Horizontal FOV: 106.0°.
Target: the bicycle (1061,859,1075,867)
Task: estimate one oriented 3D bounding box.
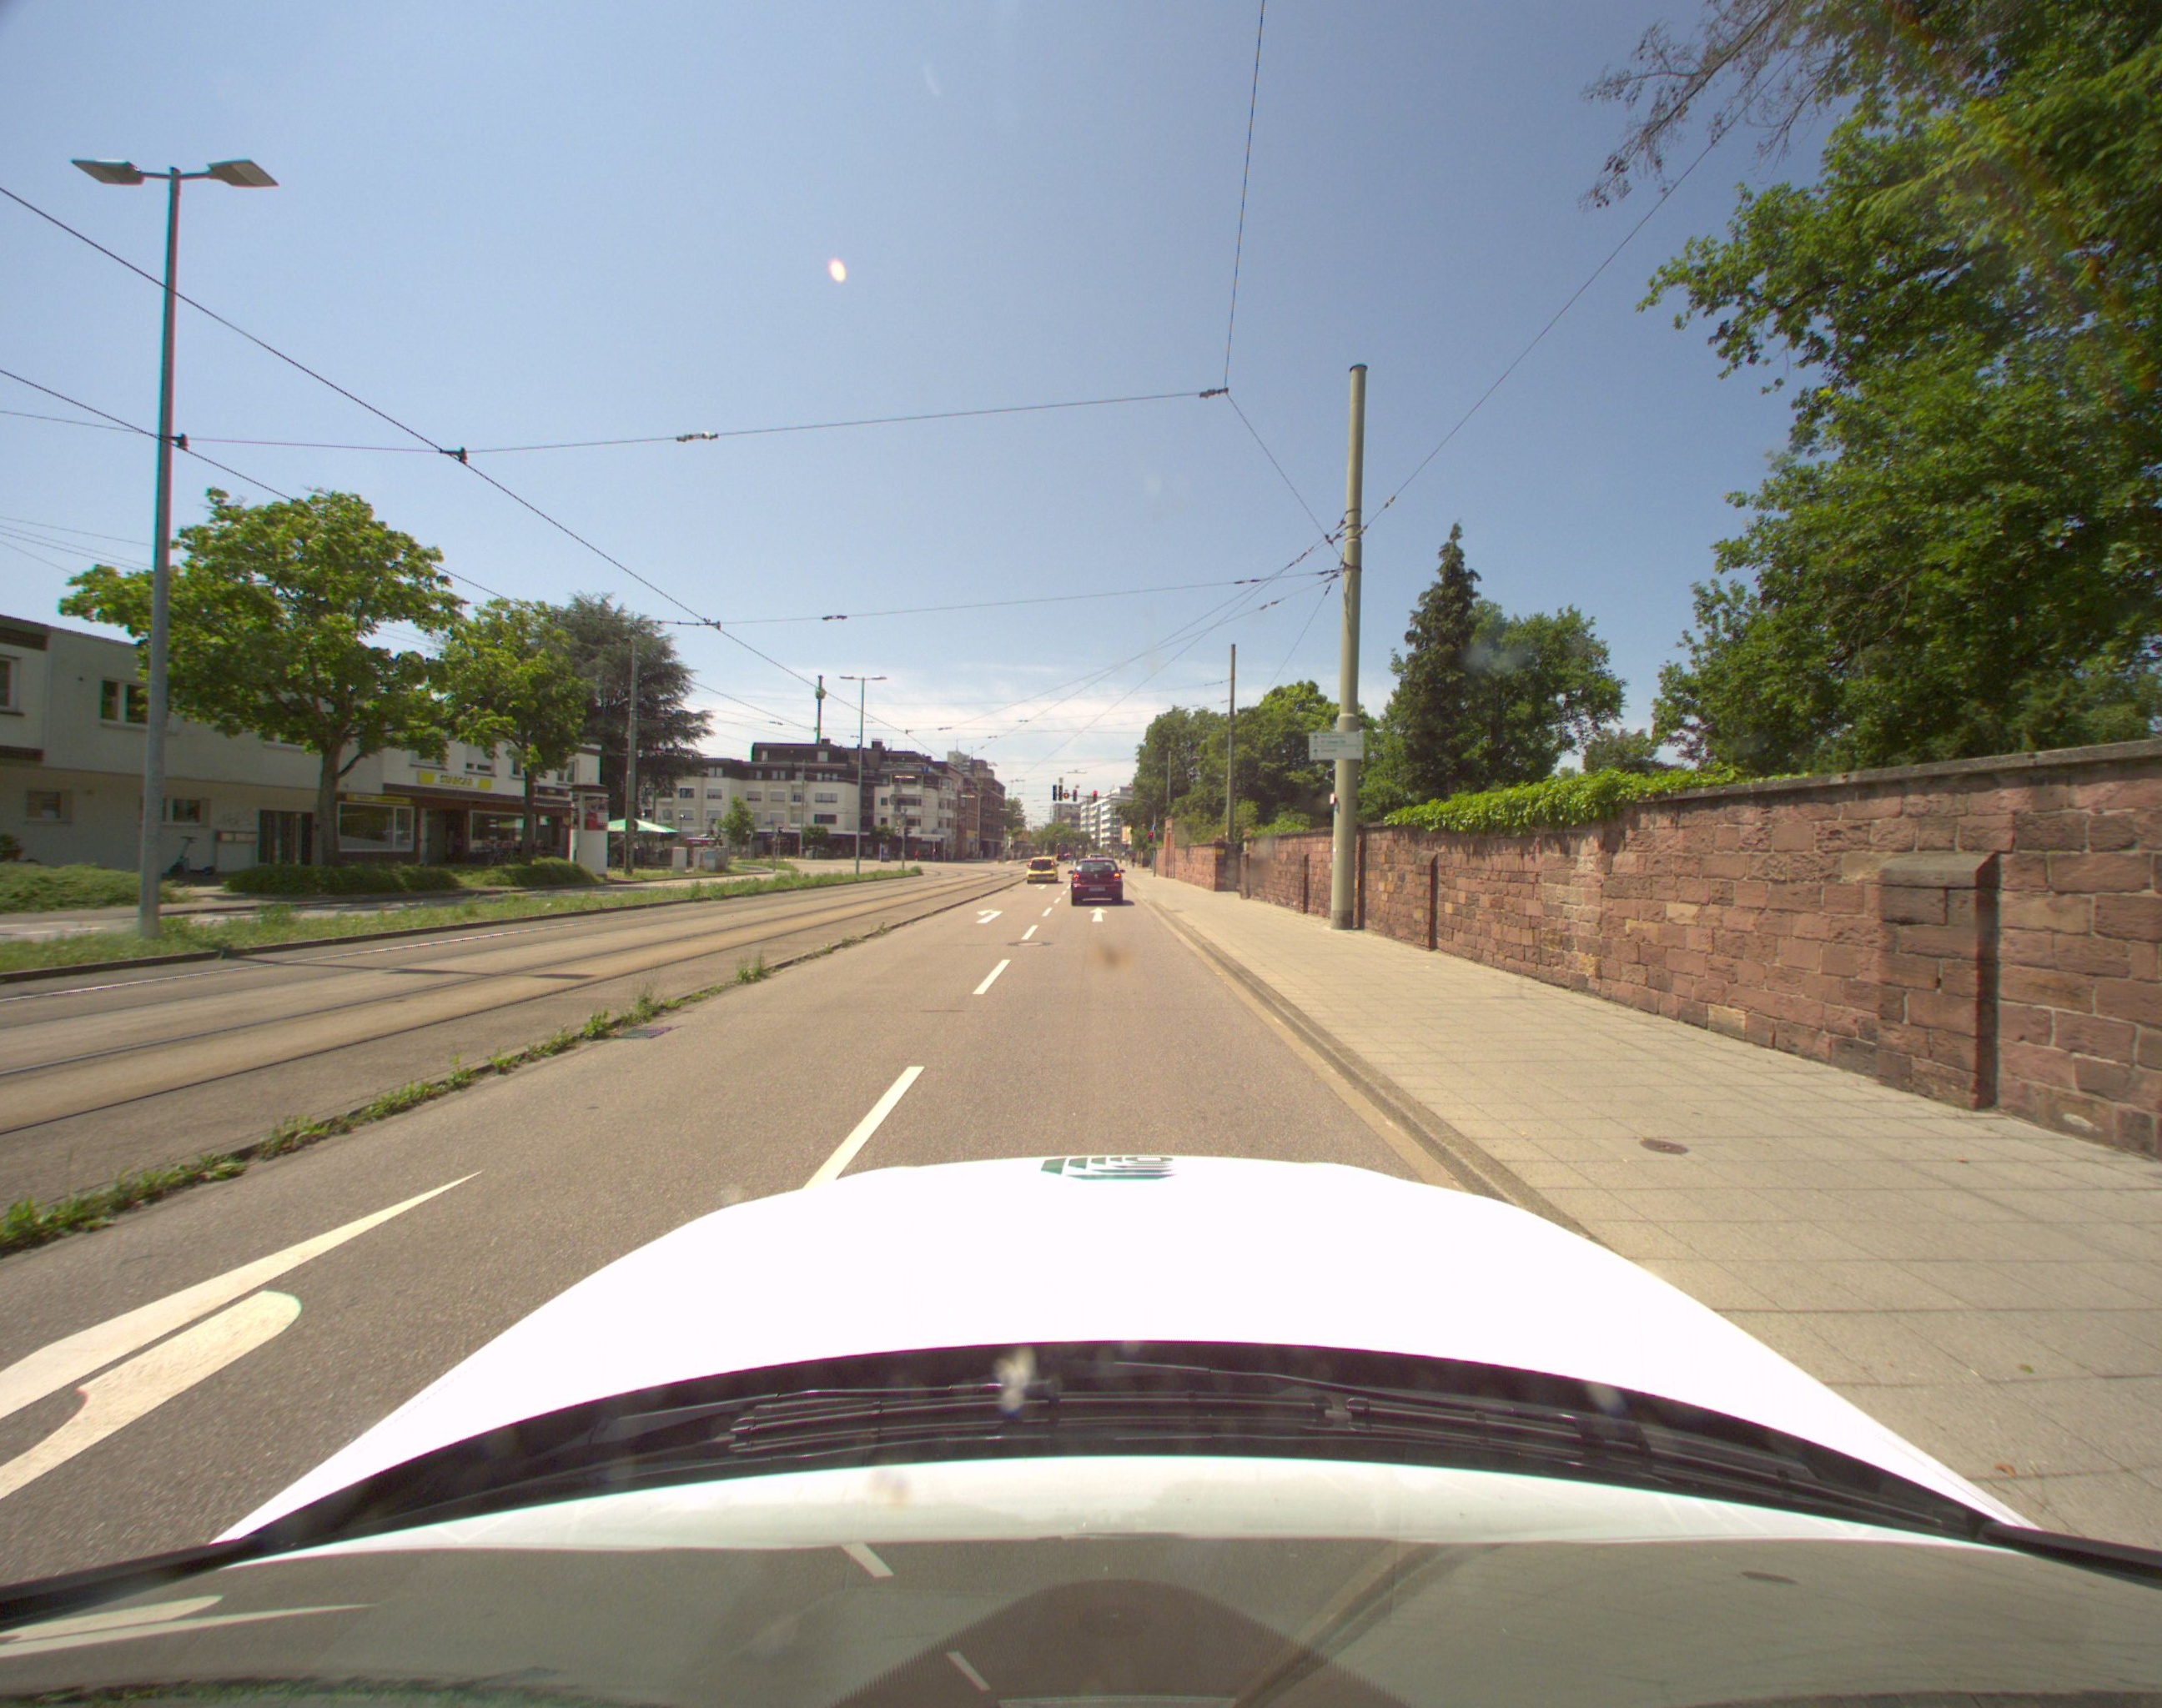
[{"bbox_3d":[-1.728,1.224,111.164,1.861,1.008,0.578,0,-1,-4],"label":"bicycle"}]

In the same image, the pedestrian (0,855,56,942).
[{"bbox_3d":[-26.114,1.024,17.911,1.987,2.014,4.000,0,-1,1],"label":"pedestrian"}]

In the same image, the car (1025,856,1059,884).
[{"bbox_3d":[-2.138,0.859,45.394,1.717,1.445,3.293,-1,0,1],"label":"car"}]

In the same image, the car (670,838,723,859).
[{"bbox_3d":[-44.994,-0.605,95.286,5.048,2.341,2.244,0,-1,-1],"label":"car"}]

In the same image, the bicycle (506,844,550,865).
[{"bbox_3d":[-25.492,0.038,37.567,0.608,0.979,2.030,0,-1,1],"label":"bicycle"}]

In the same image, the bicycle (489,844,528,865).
[{"bbox_3d":[-26.768,0.032,38.081,0.536,0.979,1.759,0,-1,1],"label":"bicycle"}]

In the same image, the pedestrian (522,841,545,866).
[{"bbox_3d":[-28.394,-0.013,42.209,0.587,1.268,0.842,0,-1,1],"label":"pedestrian"}]

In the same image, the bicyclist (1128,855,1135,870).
[{"bbox_3d":[6.103,1.077,98.387,0.719,1.818,0.889,0,-1,1],"label":"bicyclist"}]

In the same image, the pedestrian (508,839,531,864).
[{"bbox_3d":[-29.040,-0.111,42.126,0.587,1.268,0.842,0,-1,1],"label":"pedestrian"}]

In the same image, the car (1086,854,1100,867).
[{"bbox_3d":[1.348,0.747,91.885,1.567,1.415,3.720,-1,0,1],"label":"car"}]

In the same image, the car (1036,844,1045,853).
[{"bbox_3d":[-9.716,-1.341,195.046,1.728,2.013,4.001,1,0,1],"label":"car"}]

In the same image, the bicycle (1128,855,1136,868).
[{"bbox_3d":[6.185,0.930,99.634,0.832,1.525,4.001,0,-1,1],"label":"bicycle"}]

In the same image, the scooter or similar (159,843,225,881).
[{"bbox_3d":[-28.553,0.253,26.172,0.450,1.191,1.352,0,-1,21],"label":"scooter or similar"}]

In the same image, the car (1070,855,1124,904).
[{"bbox_3d":[0.508,0.770,26.427,1.604,1.463,4.086,-1,0,1],"label":"car"}]

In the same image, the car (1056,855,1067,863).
[{"bbox_3d":[-3.744,0.949,157.887,1.931,1.641,4.000,0,-1,1],"label":"car"}]

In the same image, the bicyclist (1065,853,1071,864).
[{"bbox_3d":[-1.733,0.622,111.222,0.764,1.406,0.506,0,-1,-3],"label":"bicyclist"}]
